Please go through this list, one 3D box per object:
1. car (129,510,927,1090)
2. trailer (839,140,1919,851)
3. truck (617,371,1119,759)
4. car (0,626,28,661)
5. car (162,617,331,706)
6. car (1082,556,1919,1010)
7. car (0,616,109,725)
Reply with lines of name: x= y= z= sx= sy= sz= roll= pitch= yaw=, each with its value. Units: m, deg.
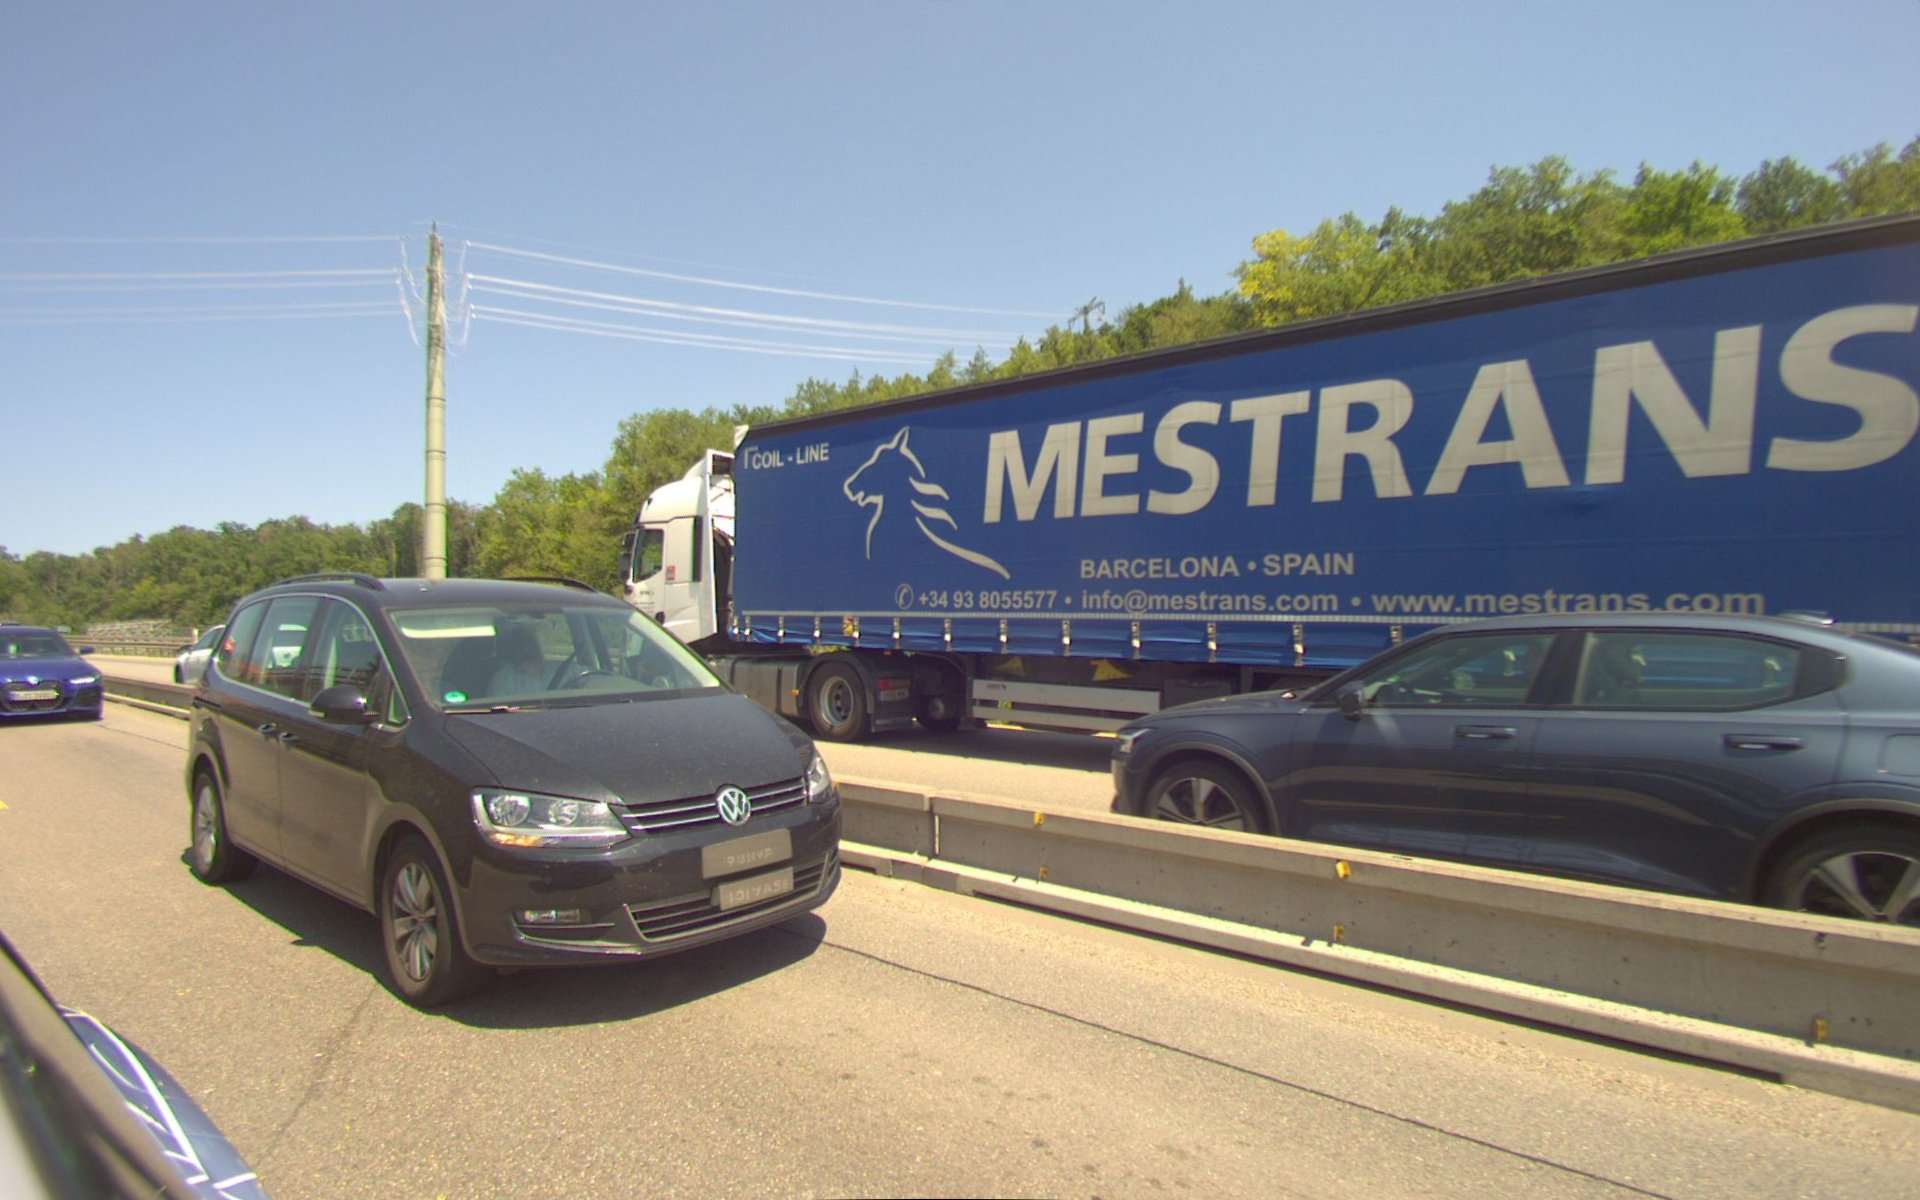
car: x=-2.741 y=0.668 z=5.461 sx=5.300 sy=1.719 sz=1.837 roll=-2 pitch=-2 yaw=41
trailer: x=4.030 y=-0.511 z=9.249 sx=11.812 sy=4.111 sz=3.102 roll=-2 pitch=-2 yaw=41
truck: x=-1.568 y=-0.283 z=14.156 sx=6.875 sy=4.111 sz=3.103 roll=-2 pitch=-2 yaw=41
car: x=-53.125 y=2.363 z=55.719 sx=4.654 sy=1.755 sz=1.888 roll=0 pitch=-1 yaw=37
car: x=-13.872 y=1.142 z=19.606 sx=4.187 sy=1.547 sz=1.654 roll=-2 pitch=-2 yaw=40
car: x=3.014 y=0.667 z=4.915 sx=4.555 sy=1.558 sz=1.832 roll=-2 pitch=-2 yaw=40
car: x=-15.413 y=1.079 z=16.321 sx=4.783 sy=1.567 sz=1.871 roll=-2 pitch=-2 yaw=41
